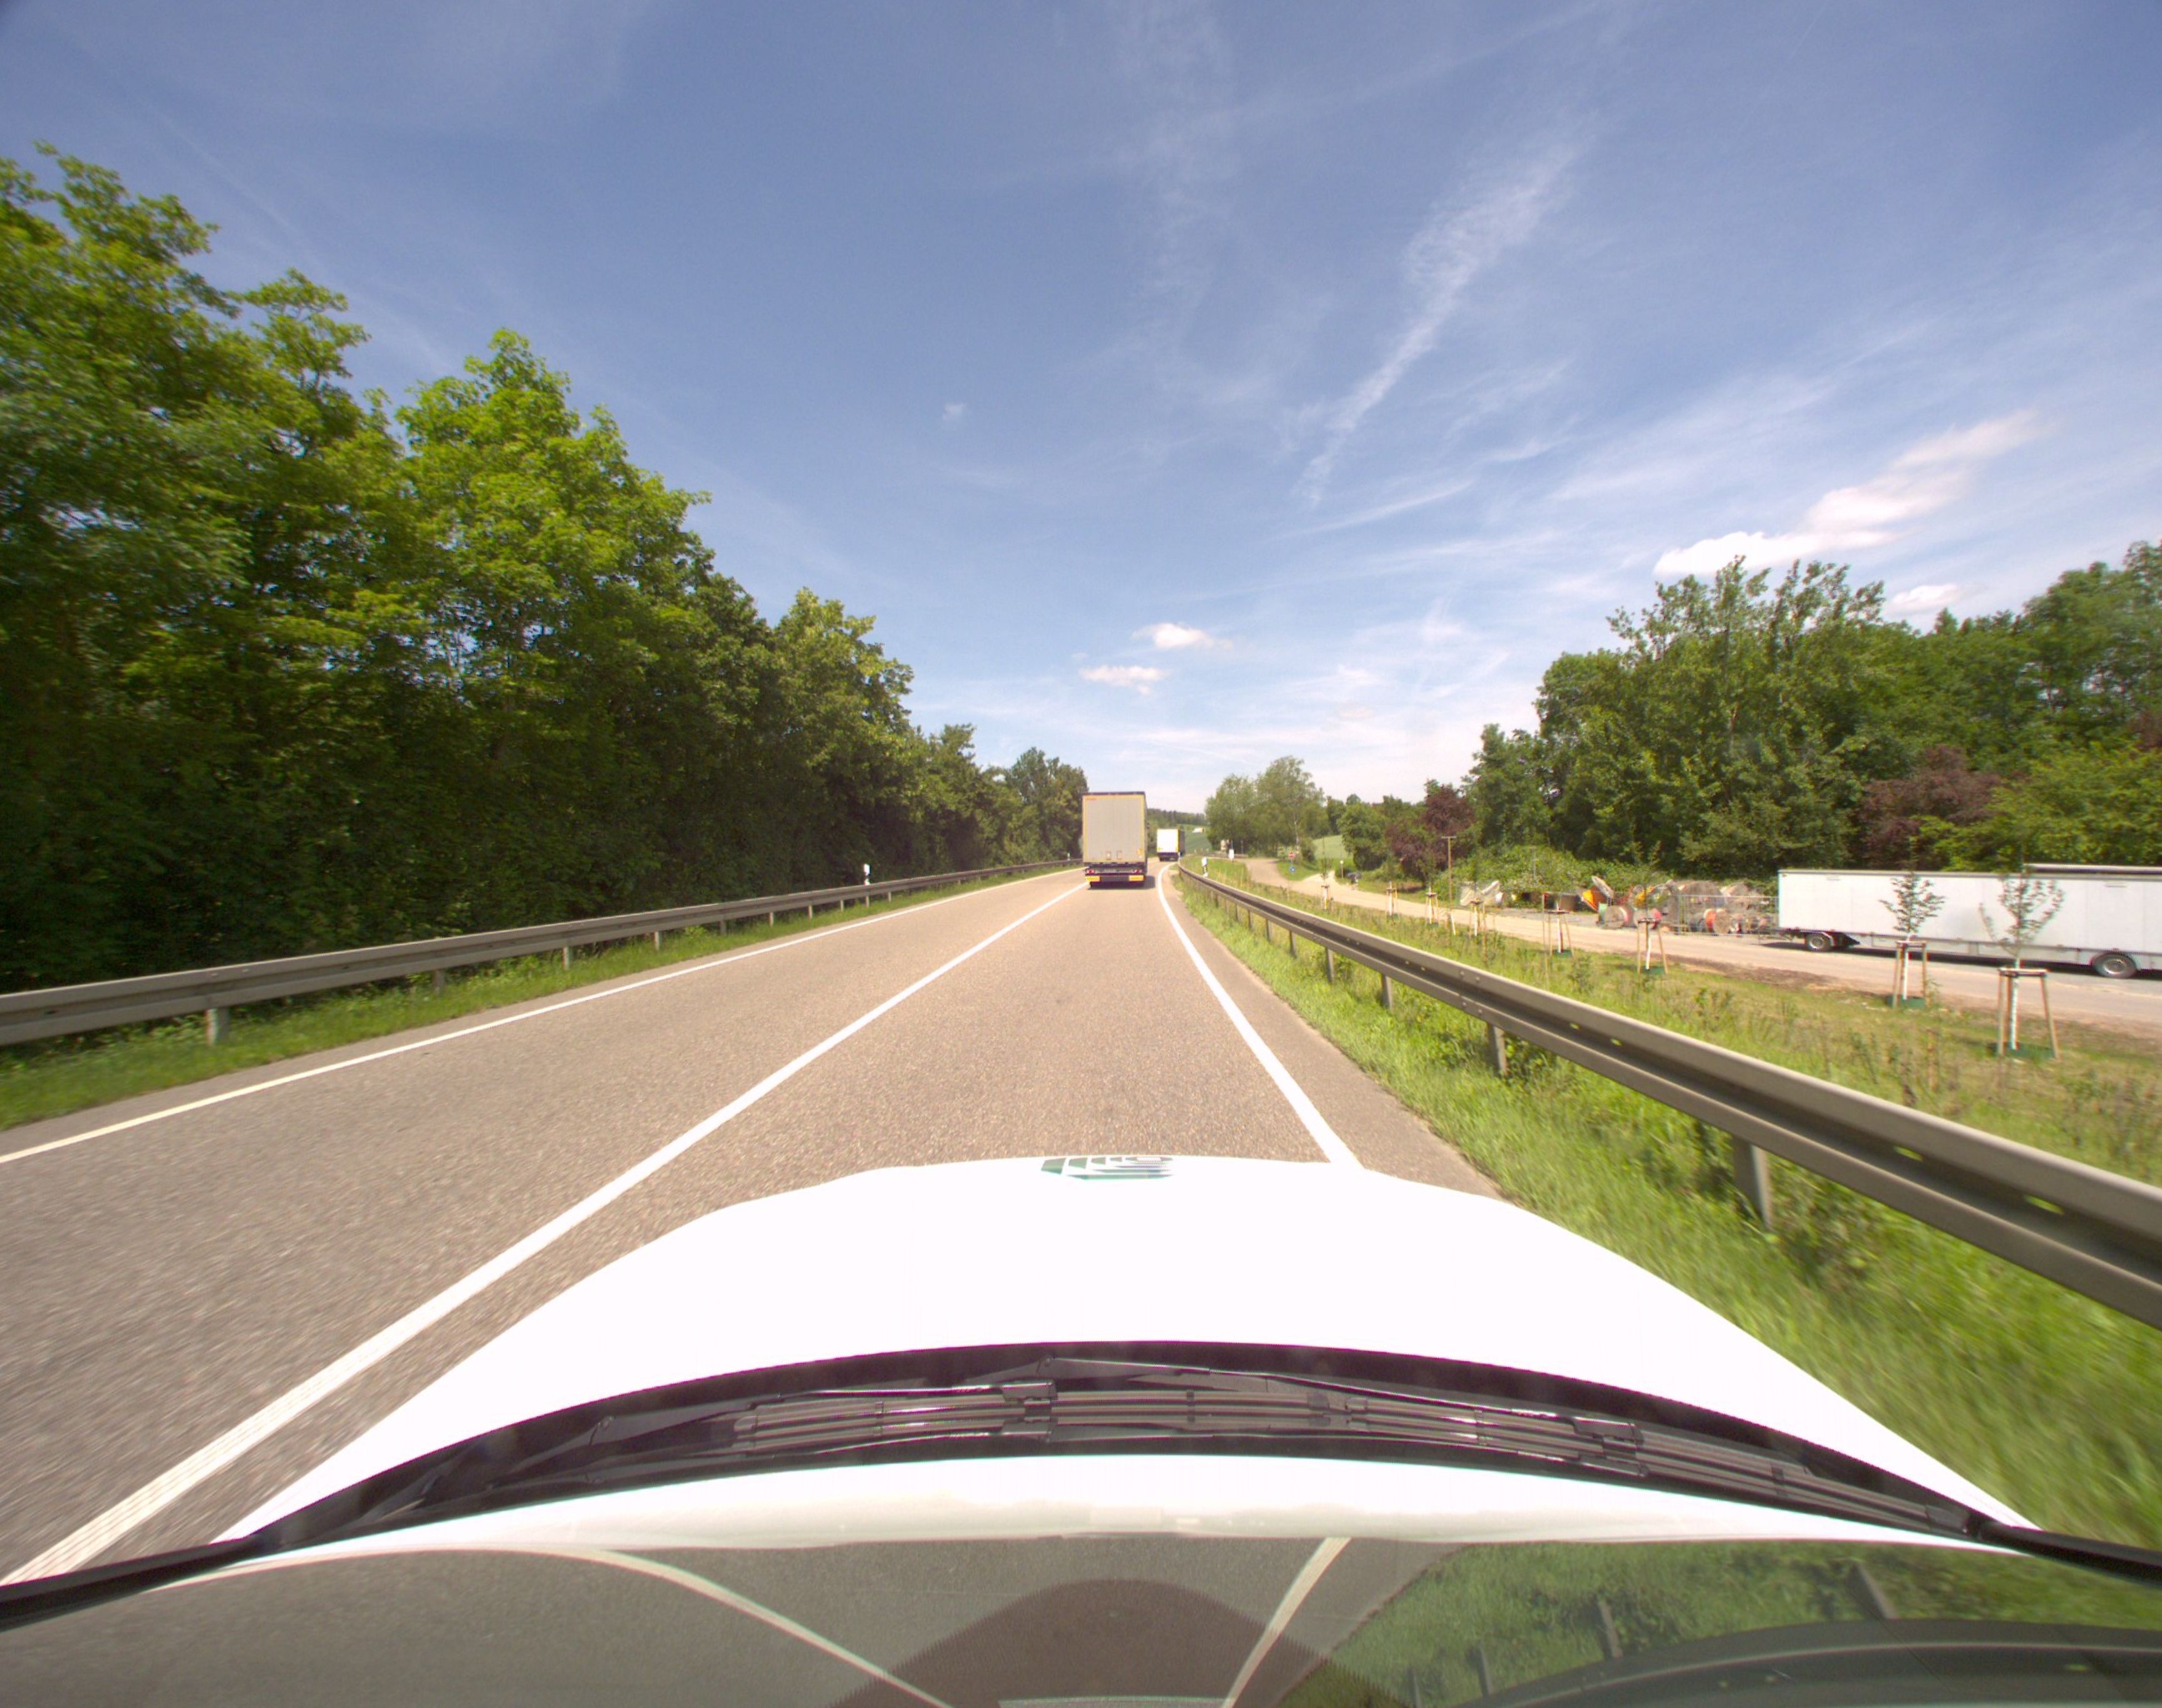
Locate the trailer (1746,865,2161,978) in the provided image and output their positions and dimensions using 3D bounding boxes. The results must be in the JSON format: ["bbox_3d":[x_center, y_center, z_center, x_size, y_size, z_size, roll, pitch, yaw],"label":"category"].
[{"bbox_3d":[32.207,2.169,29.979,2.735,3.328,11.784,-1,0,-29],"label":"trailer"}]

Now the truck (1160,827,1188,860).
[{"bbox_3d":[12.681,-1.368,110.607,3.344,4.317,6.759,-1,-1,10],"label":"truck"}]

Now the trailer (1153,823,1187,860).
[{"bbox_3d":[11.607,-1.424,104.709,3.344,4.317,13.902,-1,-1,10],"label":"trailer"}]

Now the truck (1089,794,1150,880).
[{"bbox_3d":[2.309,-0.946,46.346,3.103,4.494,6.821,-1,0,5],"label":"truck"}]

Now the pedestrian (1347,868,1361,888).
[{"bbox_3d":[26.296,2.281,78.470,0.882,1.811,0.960,-4,0,1],"label":"pedestrian"}]

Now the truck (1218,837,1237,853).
[{"bbox_3d":[33.753,-2.004,187.485,3.199,3.365,11.923,-1,-1,15],"label":"truck"}]

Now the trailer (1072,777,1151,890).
[{"bbox_3d":[1.768,-0.876,39.589,3.104,4.499,13.903,-1,0,4],"label":"trailer"}]

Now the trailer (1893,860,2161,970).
[{"bbox_3d":[36.597,2.037,28.197,2.733,3.606,11.790,0,0,-27],"label":"trailer"}]
